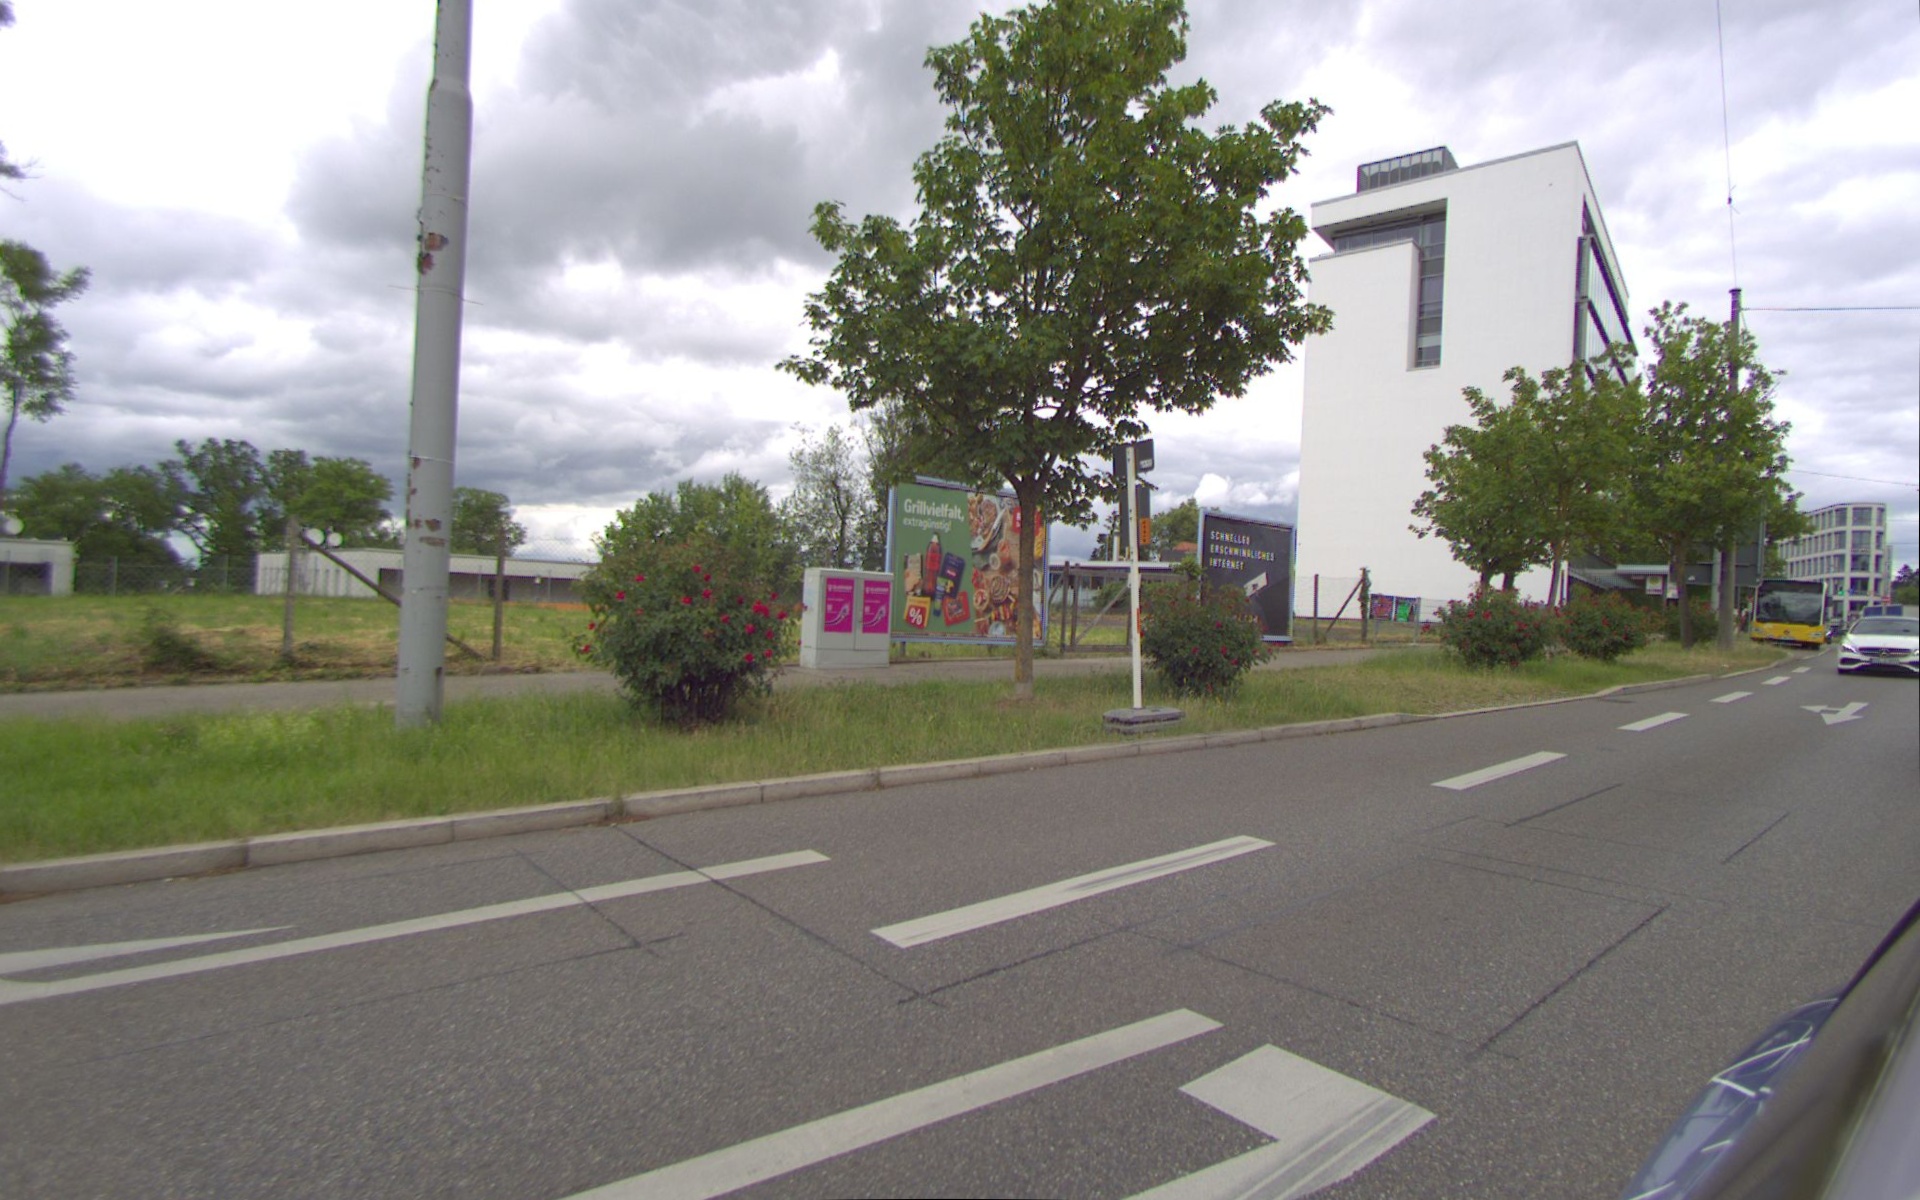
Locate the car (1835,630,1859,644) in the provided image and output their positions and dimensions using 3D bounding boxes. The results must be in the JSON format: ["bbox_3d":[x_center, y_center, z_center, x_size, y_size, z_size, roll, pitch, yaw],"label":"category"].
[{"bbox_3d":[106.136,4.447,121.075,1.782,1.535,4.305,2,0,37],"label":"car"}]

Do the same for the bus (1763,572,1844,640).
[{"bbox_3d":[44.862,0.342,53.991,3.032,3.276,9.204,3,1,39],"label":"bus"}]

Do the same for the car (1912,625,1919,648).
[{"bbox_3d":[68.065,2.587,70.694,4.289,1.573,1.735,1,0,-39],"label":"car"}]

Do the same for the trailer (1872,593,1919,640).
[{"bbox_3d":[96.428,1.785,102.696,3.089,4.323,14.671,2,0,32],"label":"trailer"}]

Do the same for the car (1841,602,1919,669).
[{"bbox_3d":[23.273,0.890,25.181,1.865,1.524,4.704,1,-1,39],"label":"car"}]

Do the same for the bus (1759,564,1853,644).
[{"bbox_3d":[38.943,0.190,46.749,2.978,3.282,9.724,2,1,39],"label":"bus"}]
